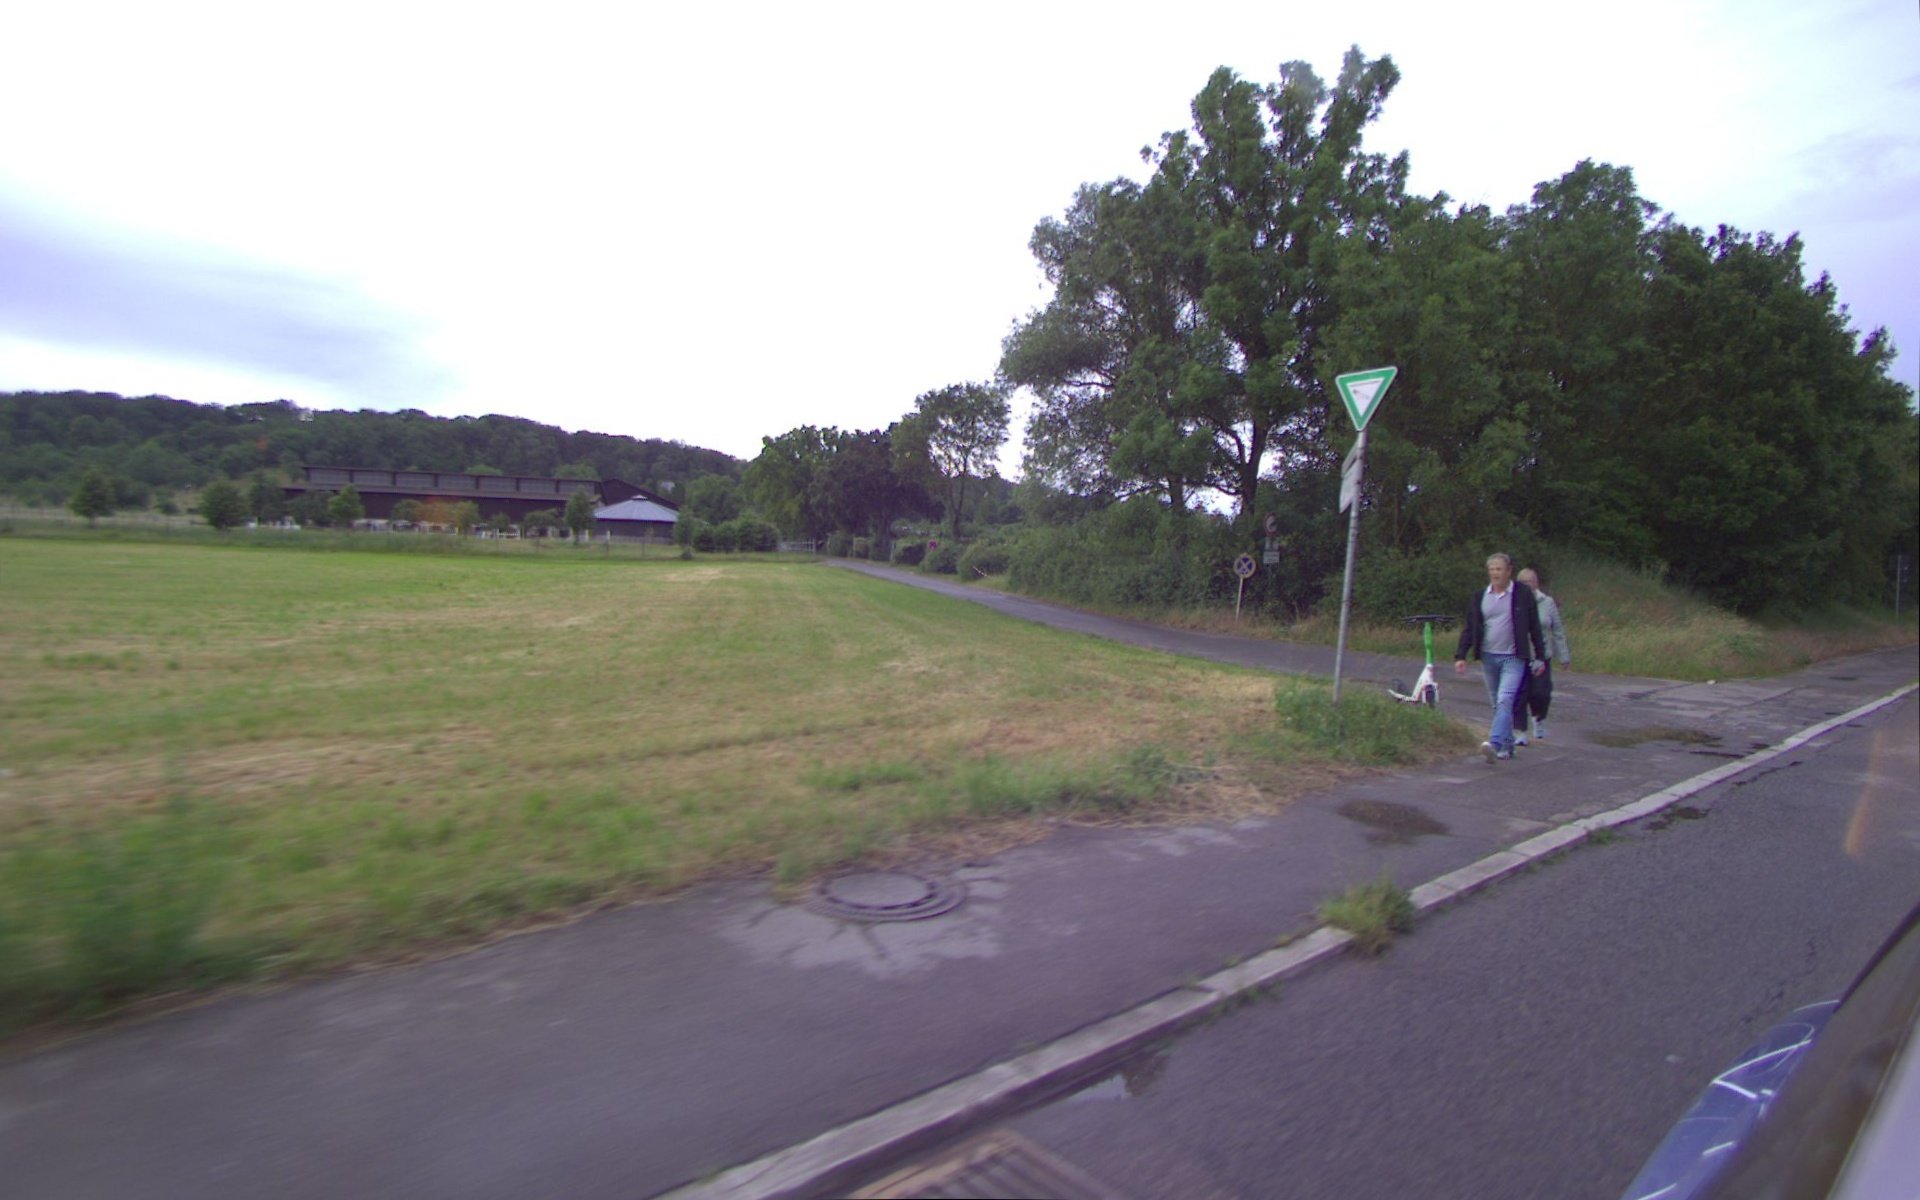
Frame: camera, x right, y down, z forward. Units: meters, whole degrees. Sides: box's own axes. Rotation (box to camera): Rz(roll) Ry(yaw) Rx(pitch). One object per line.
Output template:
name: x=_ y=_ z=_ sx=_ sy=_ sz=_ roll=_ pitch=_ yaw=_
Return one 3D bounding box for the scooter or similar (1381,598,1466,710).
scooter or similar: x=5.538 y=0.614 z=12.162 sx=0.367 sy=1.221 sz=1.328 roll=1 pitch=2 yaw=0

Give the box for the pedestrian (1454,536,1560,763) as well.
pedestrian: x=4.751 y=0.384 z=8.784 sx=0.690 sy=1.850 sz=0.792 roll=3 pitch=2 yaw=33

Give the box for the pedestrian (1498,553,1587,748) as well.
pedestrian: x=5.680 y=0.453 z=9.865 sx=0.658 sy=1.800 sz=0.751 roll=3 pitch=2 yaw=32
